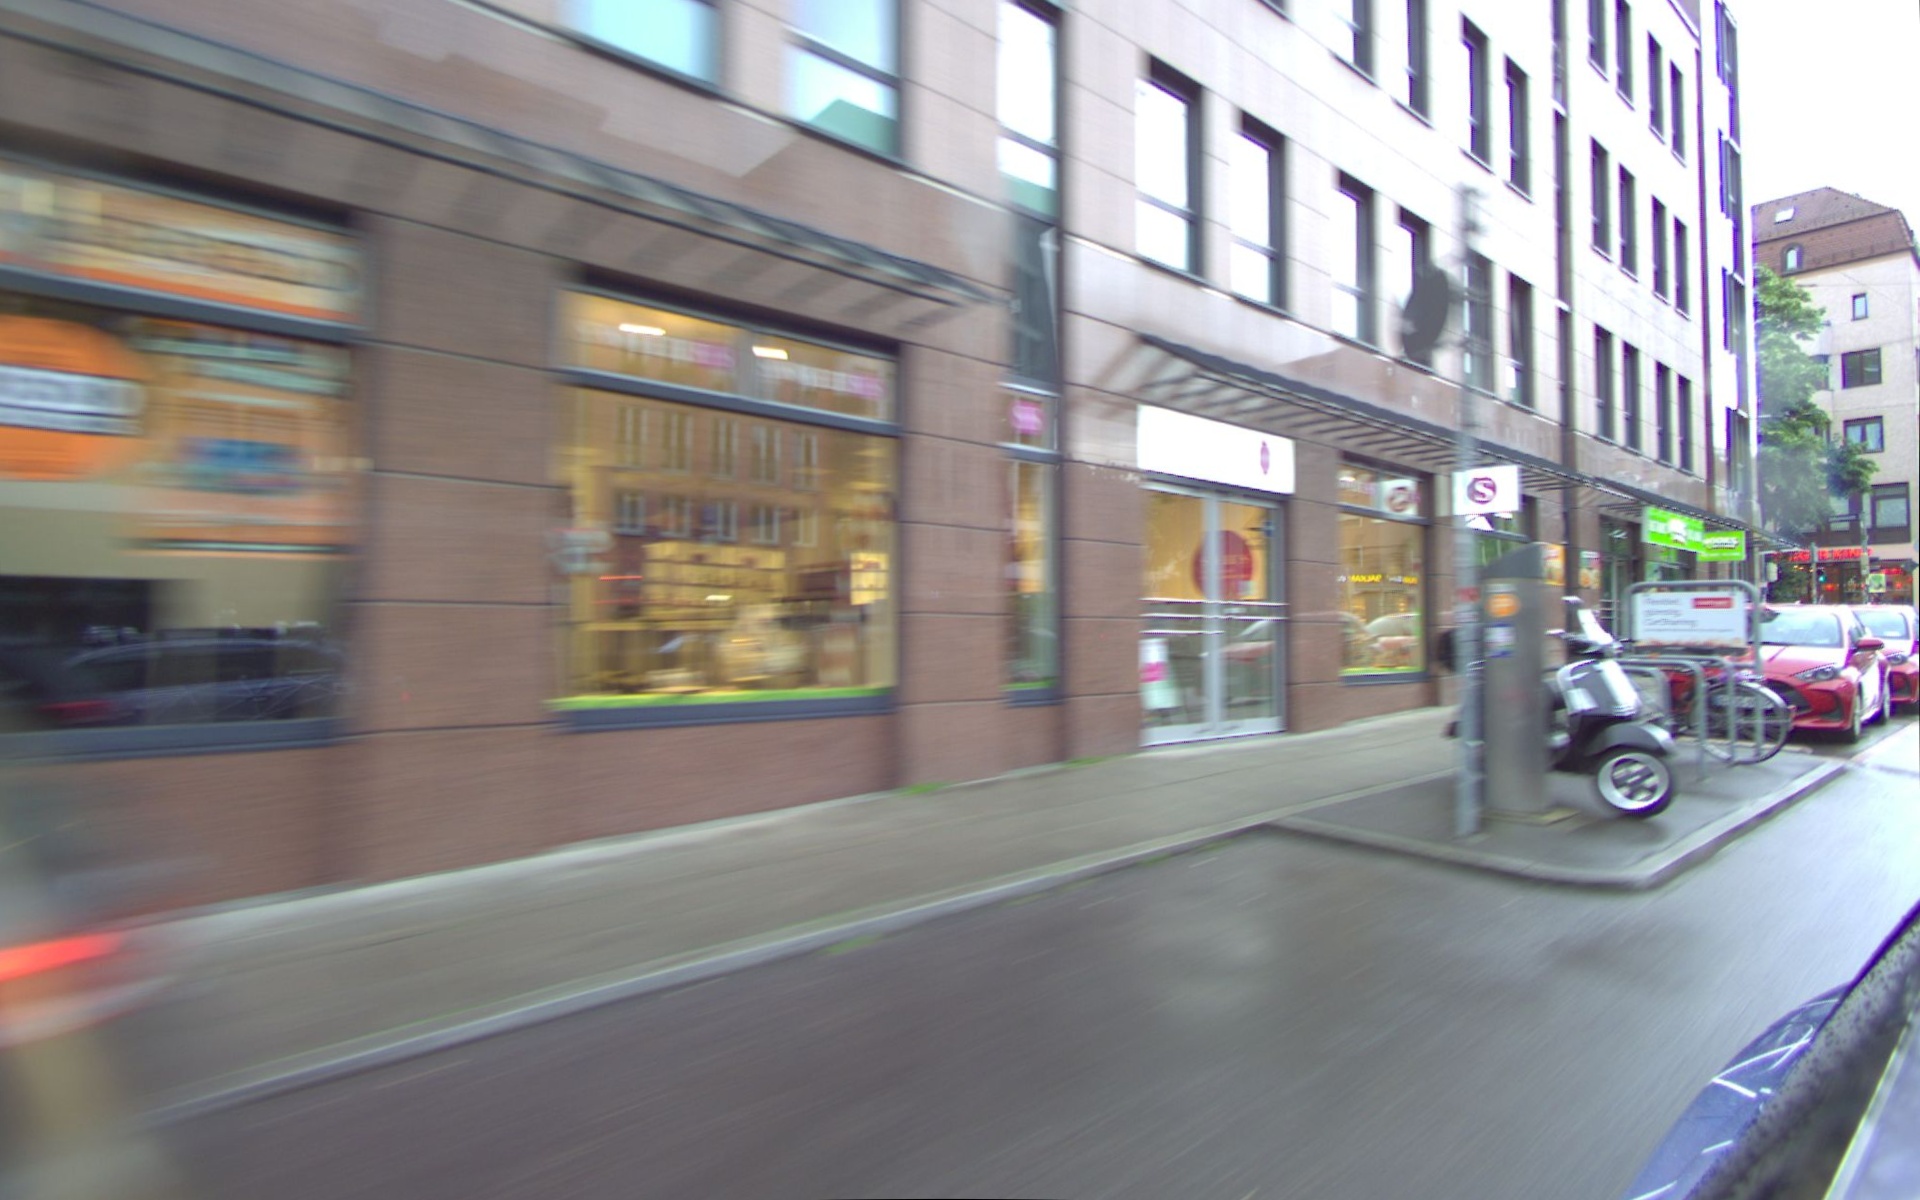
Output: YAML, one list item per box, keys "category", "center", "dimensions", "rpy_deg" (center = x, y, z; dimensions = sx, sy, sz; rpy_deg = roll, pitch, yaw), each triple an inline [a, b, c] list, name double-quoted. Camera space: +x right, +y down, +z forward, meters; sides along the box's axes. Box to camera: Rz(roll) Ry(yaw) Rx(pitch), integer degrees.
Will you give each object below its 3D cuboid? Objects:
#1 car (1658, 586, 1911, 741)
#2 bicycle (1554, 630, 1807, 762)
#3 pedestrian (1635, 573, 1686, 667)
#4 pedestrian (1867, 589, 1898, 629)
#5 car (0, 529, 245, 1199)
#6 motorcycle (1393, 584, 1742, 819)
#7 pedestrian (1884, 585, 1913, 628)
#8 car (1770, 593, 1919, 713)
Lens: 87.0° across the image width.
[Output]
- category: "car"
  center: [9.807, 0.606, 11.940]
  dimensions: [3.800, 1.480, 1.701]
  rpy_deg: [-1, 2, -41]
- category: "bicycle"
  center: [6.411, 0.809, 9.103]
  dimensions: [0.454, 1.044, 1.789]
  rpy_deg: [-1, 0, -41]
- category: "pedestrian"
  center: [12.812, 0.360, 18.502]
  dimensions: [0.614, 1.680, 0.603]
  rpy_deg: [-1, 0, -40]
- category: "pedestrian"
  center: [39.717, 0.381, 43.575]
  dimensions: [0.614, 1.670, 0.725]
  rpy_deg: [-1, 0, 0]
- category: "car"
  center: [-3.282, 0.676, 0.572]
  dimensions: [4.531, 1.487, 1.776]
  rpy_deg: [0, -1, -43]
- category: "motorcycle"
  center: [4.240, 0.619, 7.304]
  dimensions: [0.782, 1.425, 2.094]
  rpy_deg: [-1, 0, -22]
- category: "pedestrian"
  center: [40.697, 0.282, 43.887]
  dimensions: [0.585, 1.843, 0.667]
  rpy_deg: [-1, 0, 0]
- category: "car"
  center: [13.625, 0.684, 15.058]
  dimensions: [3.798, 1.498, 1.702]
  rpy_deg: [-1, 2, -39]
